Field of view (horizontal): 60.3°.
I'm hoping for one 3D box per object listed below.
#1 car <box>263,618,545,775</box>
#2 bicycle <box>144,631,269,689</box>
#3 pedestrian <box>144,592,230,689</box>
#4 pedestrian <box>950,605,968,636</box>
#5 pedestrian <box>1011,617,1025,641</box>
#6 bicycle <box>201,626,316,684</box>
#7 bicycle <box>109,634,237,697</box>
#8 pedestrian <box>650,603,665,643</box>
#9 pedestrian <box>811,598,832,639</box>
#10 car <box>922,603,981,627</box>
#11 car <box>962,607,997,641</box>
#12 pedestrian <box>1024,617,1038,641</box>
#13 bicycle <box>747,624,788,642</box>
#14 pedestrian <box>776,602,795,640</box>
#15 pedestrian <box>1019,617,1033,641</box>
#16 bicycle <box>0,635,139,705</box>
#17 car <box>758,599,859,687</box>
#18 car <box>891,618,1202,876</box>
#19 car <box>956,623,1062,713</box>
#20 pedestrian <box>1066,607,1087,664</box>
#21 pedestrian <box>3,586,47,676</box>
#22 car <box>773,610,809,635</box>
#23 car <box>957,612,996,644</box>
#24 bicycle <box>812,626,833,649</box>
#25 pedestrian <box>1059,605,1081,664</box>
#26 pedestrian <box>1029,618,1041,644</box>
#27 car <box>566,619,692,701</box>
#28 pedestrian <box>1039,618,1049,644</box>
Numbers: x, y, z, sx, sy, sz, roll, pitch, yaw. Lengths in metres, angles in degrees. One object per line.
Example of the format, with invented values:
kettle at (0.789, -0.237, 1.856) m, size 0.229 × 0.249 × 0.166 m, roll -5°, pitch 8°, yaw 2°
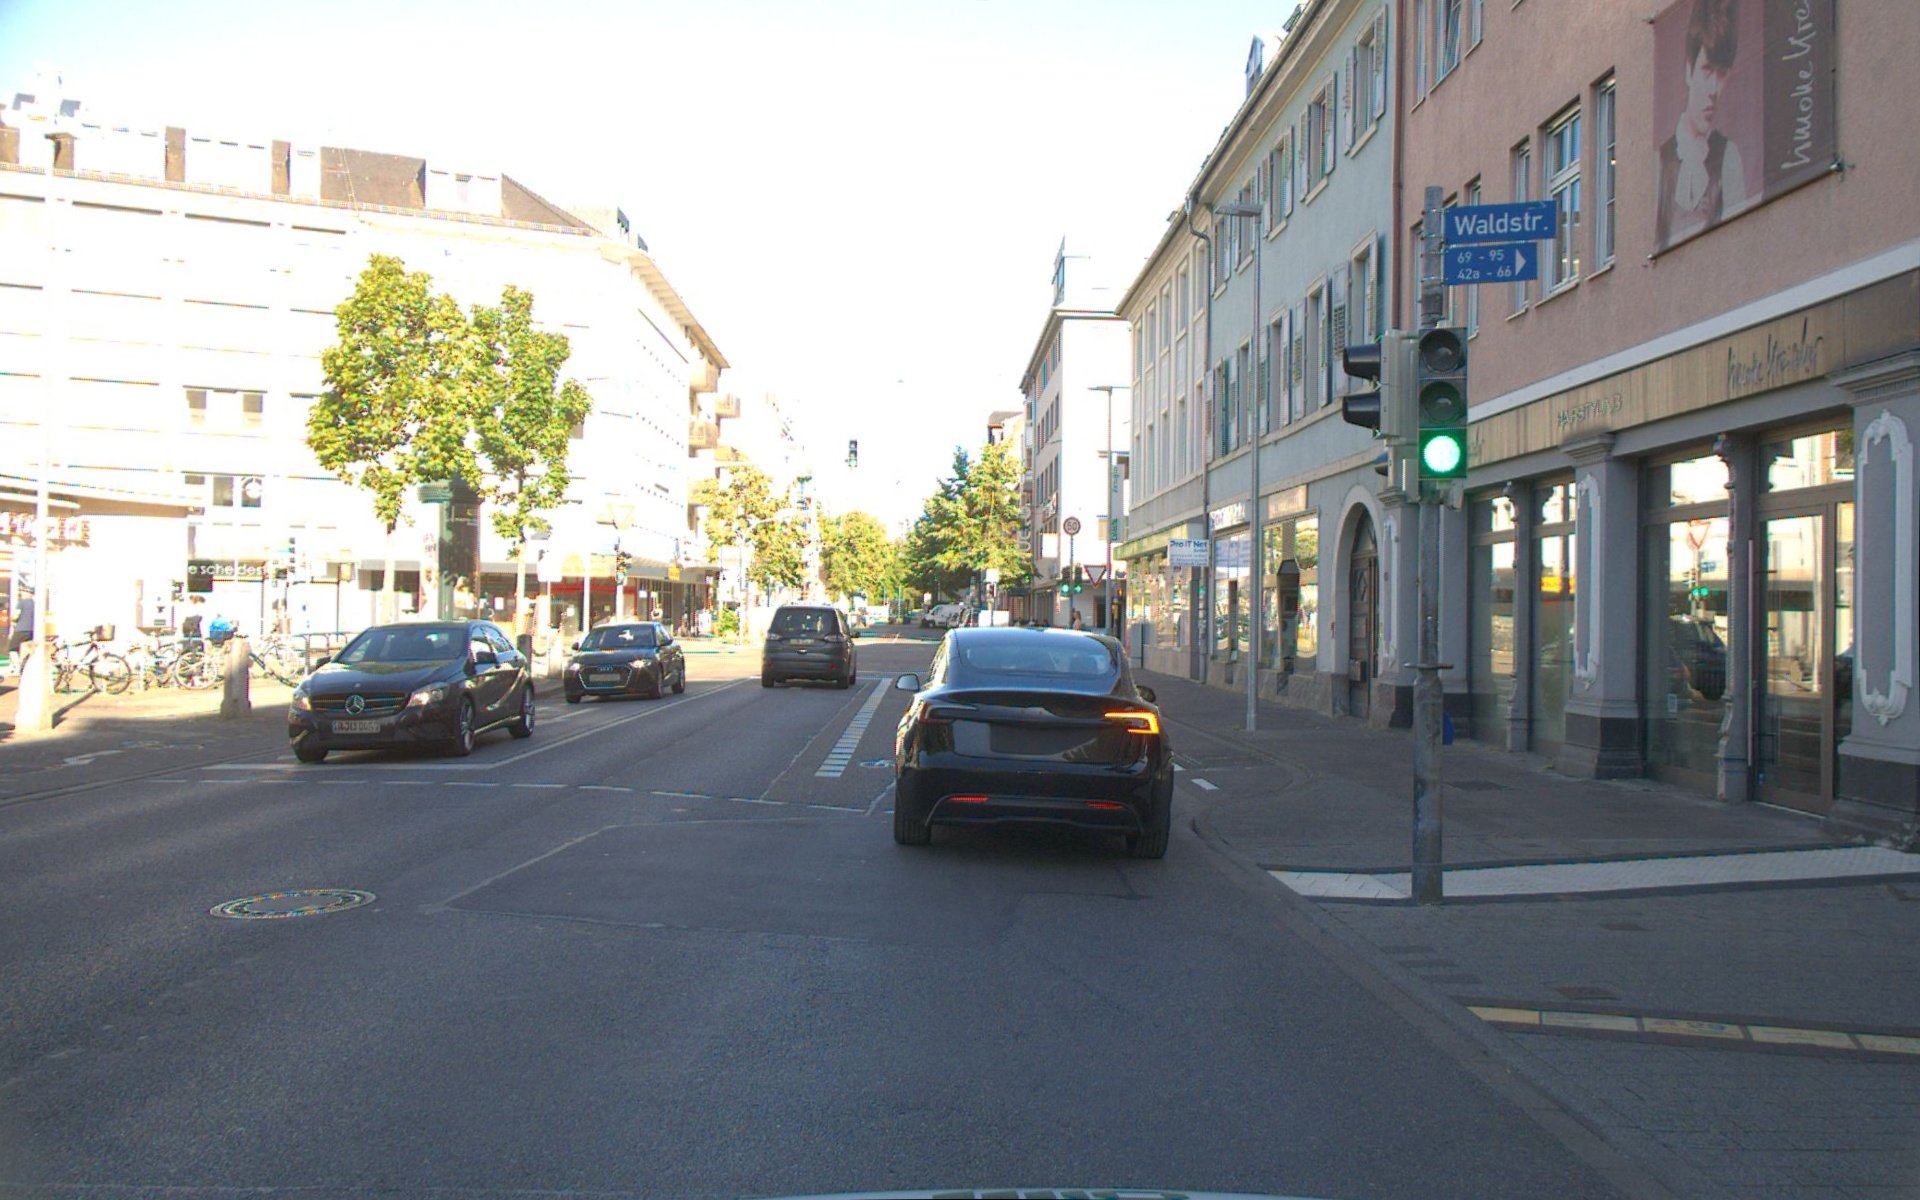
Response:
car at (-6.012, 0.969, 18.436) m, size 1.713 × 1.448 × 4.254 m, roll -3°, pitch 0°, yaw -1°
bicycle at (-14.087, 1.107, 30.943) m, size 1.969 × 1.020 × 0.889 m, roll 1°, pitch -1°, yaw 13°
pedestrian at (-14.135, 0.737, 30.269) m, size 1.059 × 1.727 × 0.903 m, roll 1°, pitch -1°, yaw 13°
pedestrian at (-0.060, 1.328, 105.847) m, size 0.937 × 1.949 × 1.106 m, roll 0°, pitch -1°, yaw 15°
pedestrian at (3.290, 1.634, 94.399) m, size 0.695 × 1.371 × 1.059 m, roll 0°, pitch -1°, yaw -5°
bicycle at (-14.090, 1.096, 33.239) m, size 1.947 × 1.107 × 0.753 m, roll 1°, pitch -1°, yaw 0°
bicycle at (-13.602, 1.120, 28.609) m, size 1.845 × 1.020 × 0.766 m, roll 1°, pitch -1°, yaw 7°
pedestrian at (-13.280, 1.024, 72.640) m, size 0.547 × 1.739 × 0.711 m, roll 0°, pitch -1°, yaw -4°
pedestrian at (-6.640, 0.881, 79.147) m, size 0.765 × 1.899 × 0.997 m, roll -2°, pitch 0°, yaw -16°
car at (-0.799, 1.370, 151.146) m, size 5.283 × 2.183 × 1.999 m, roll 0°, pitch -1°, yaw -3°
car at (1.111, 1.371, 95.840) m, size 1.865 × 1.884 × 4.287 m, roll 1°, pitch 0°, yaw -1°
pedestrian at (4.053, 1.639, 94.580) m, size 0.716 × 1.384 × 0.958 m, roll 0°, pitch -1°, yaw -2°
bicycle at (-10.754, 1.846, 92.458) m, size 2.182 × 0.975 × 0.653 m, roll 1°, pitch -1°, yaw -14°
pedestrian at (-8.236, 0.998, 78.007) m, size 0.778 × 1.742 × 0.651 m, roll 1°, pitch -1°, yaw -16°
pedestrian at (3.710, 1.632, 93.301) m, size 0.716 × 1.371 × 1.059 m, roll 0°, pitch -1°, yaw -4°
bicycle at (-14.029, 1.088, 26.028) m, size 1.845 × 1.020 × 0.766 m, roll 1°, pitch -1°, yaw 7°
car at (-3.215, 0.889, 35.818) m, size 1.865 × 1.763 × 4.287 m, roll 1°, pitch 0°, yaw -1°
car at (0.493, 0.898, 11.983) m, size 1.831 × 1.452 × 4.364 m, roll 1°, pitch 0°, yaw -1°
car at (0.820, 1.150, 29.419) m, size 1.725 × 1.443 × 4.354 m, roll 1°, pitch -1°, yaw 0°
pedestrian at (3.701, 1.129, 52.517) m, size 0.561 × 1.790 × 0.649 m, roll 1°, pitch -1°, yaw -2°
pedestrian at (-18.137, 0.595, 32.084) m, size 0.508 × 1.739 × 0.611 m, roll 0°, pitch -1°, yaw -2°
car at (-11.438, 1.515, 112.235) m, size 1.953 × 1.626 × 4.000 m, roll 1°, pitch -1°, yaw 0°
car at (0.864, 1.483, 89.403) m, size 1.960 × 1.665 × 4.287 m, roll 1°, pitch 0°, yaw -1°
bicycle at (-6.586, 1.800, 79.122) m, size 0.745 × 1.025 × 1.719 m, roll -2°, pitch 0°, yaw -13°
pedestrian at (3.528, 1.094, 53.057) m, size 0.627 × 1.874 × 0.681 m, roll 1°, pitch -1°, yaw -2°
pedestrian at (3.783, 1.573, 83.806) m, size 0.574 × 1.336 × 0.560 m, roll 0°, pitch -1°, yaw -2°
car at (-6.174, 1.084, 31.247) m, size 1.616 × 1.422 × 4.042 m, roll -1°, pitch 0°, yaw -1°
pedestrian at (4.306, 1.583, 84.600) m, size 0.477 × 1.345 × 0.654 m, roll 0°, pitch -1°, yaw 6°
